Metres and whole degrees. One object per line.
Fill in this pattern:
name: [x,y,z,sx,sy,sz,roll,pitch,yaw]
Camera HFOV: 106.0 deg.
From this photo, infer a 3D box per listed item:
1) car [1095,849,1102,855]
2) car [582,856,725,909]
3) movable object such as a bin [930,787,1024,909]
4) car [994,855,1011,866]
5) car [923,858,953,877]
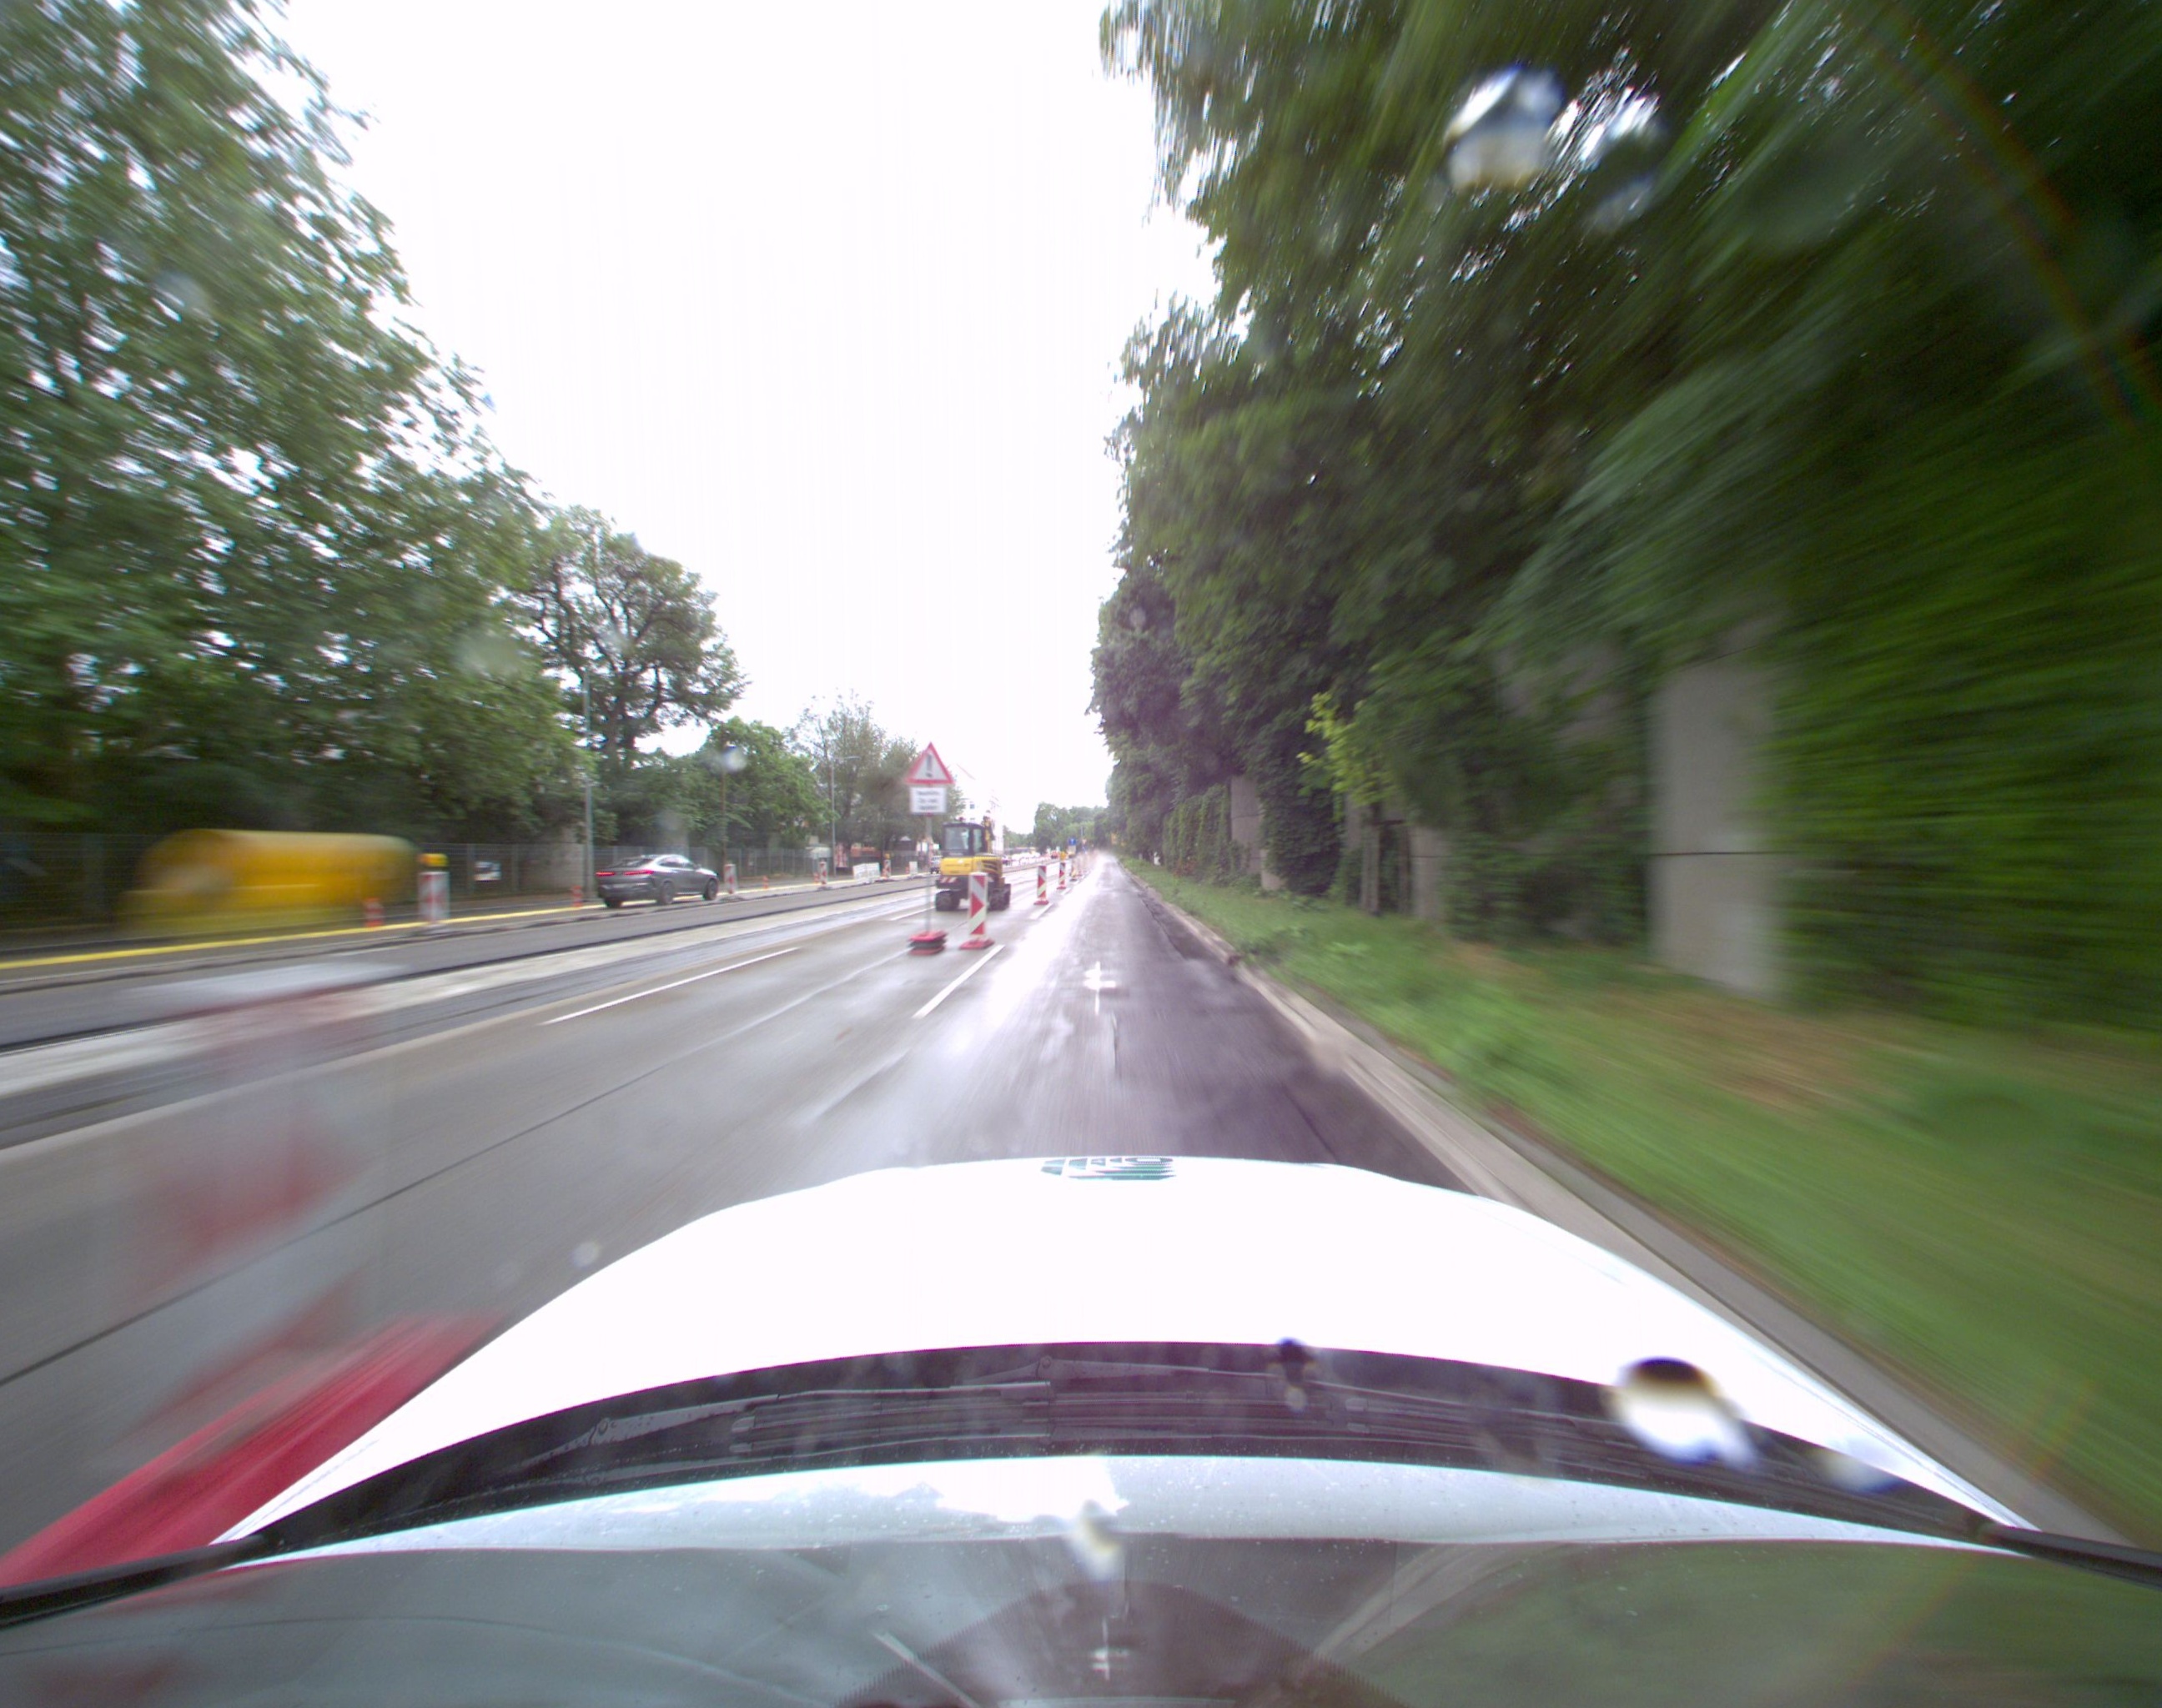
car: [4.977,-0.549,228.327,1.986,1.673,4.002,-1,0,2]
car: [-14.217,0.895,27.507,2.069,1.613,5.057,-1,0,1]
movable object such as a bin: [-3.113,-0.152,25.730,1.986,3.367,5.985,-1,0,2]
car: [-11.216,0.900,116.314,1.986,1.519,4.001,-1,0,2]
car: [-13.009,1.190,74.264,1.847,1.648,4.002,-1,0,2]
